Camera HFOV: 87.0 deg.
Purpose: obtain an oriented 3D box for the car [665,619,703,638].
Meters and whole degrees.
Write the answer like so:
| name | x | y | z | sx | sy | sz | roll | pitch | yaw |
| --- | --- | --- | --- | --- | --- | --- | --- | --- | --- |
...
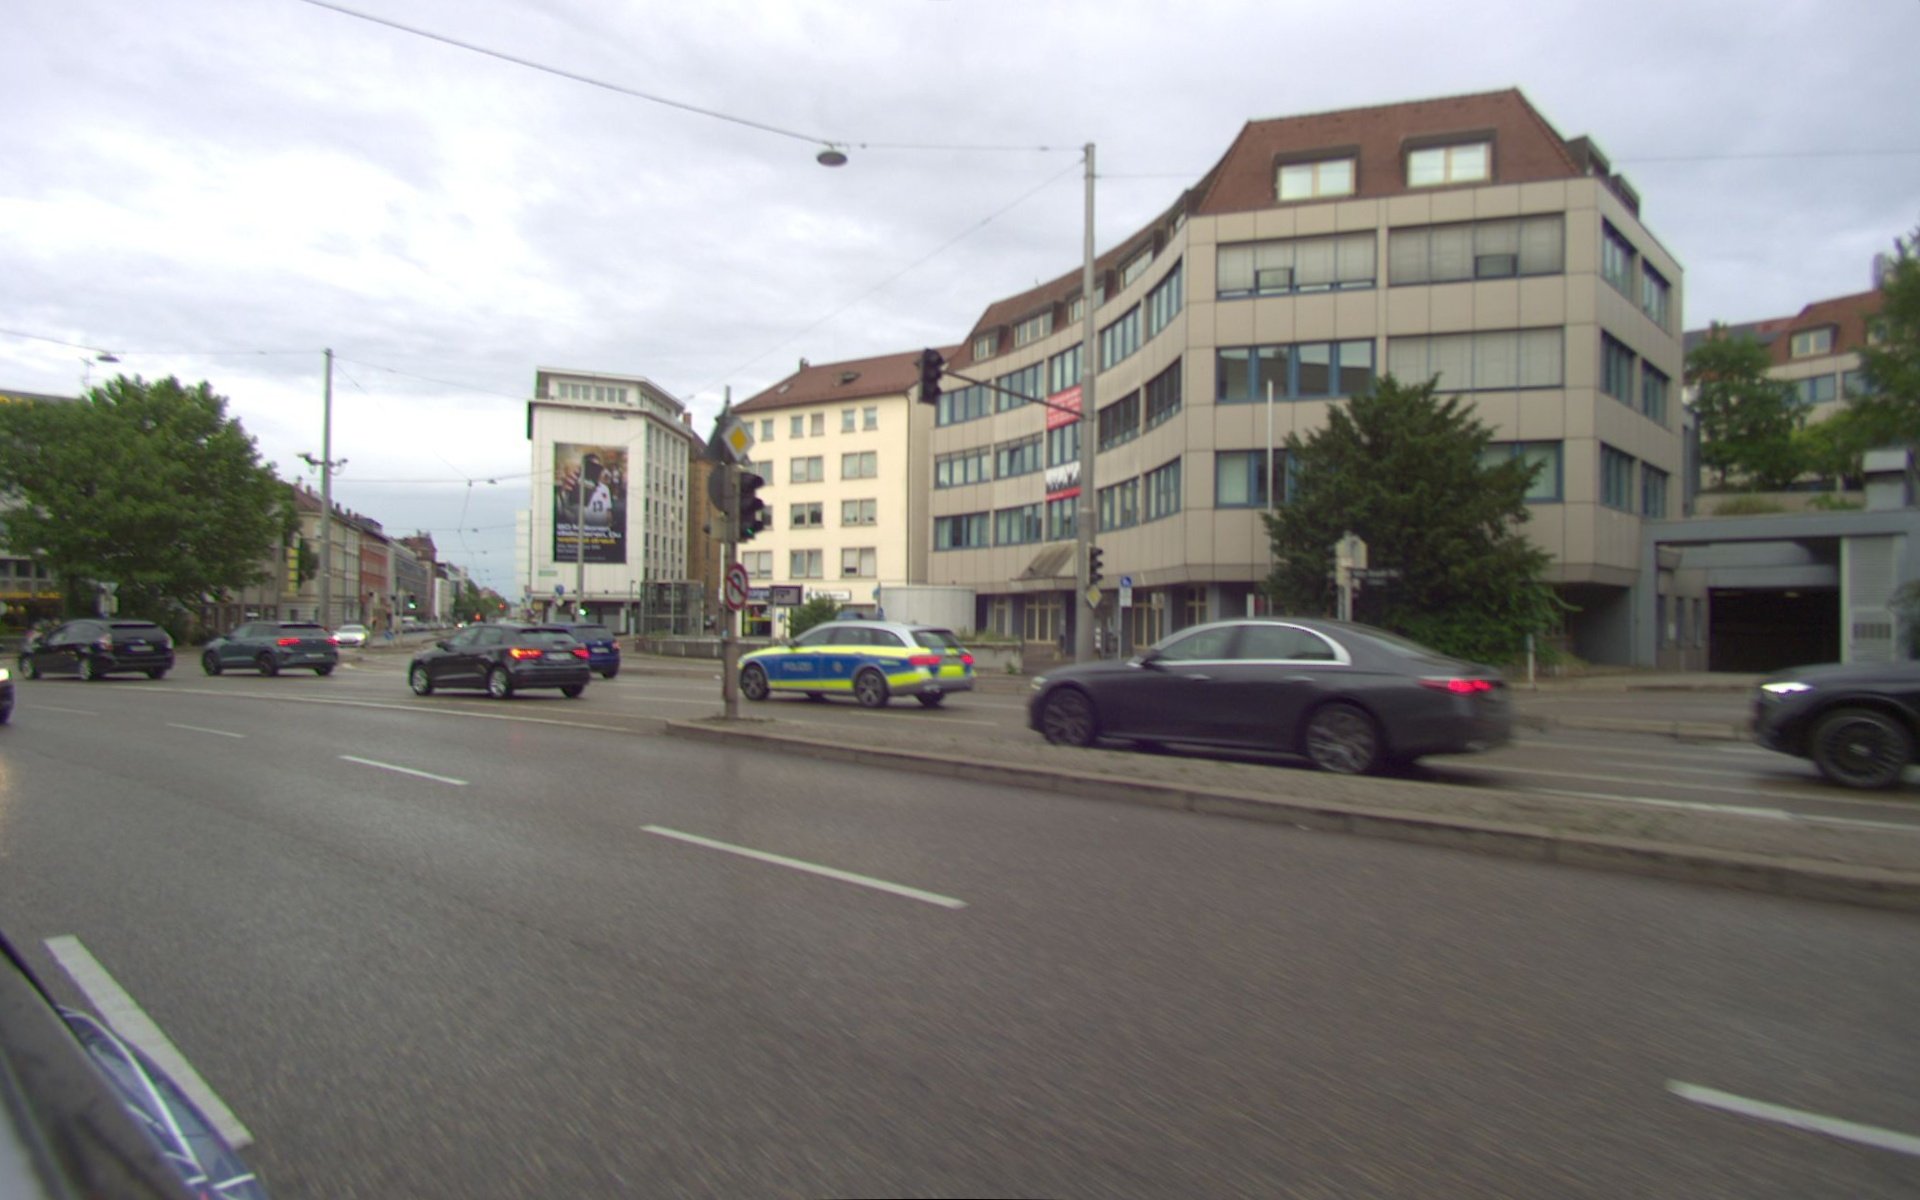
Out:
| name | x | y | z | sx | sy | sz | roll | pitch | yaw |
| --- | --- | --- | --- | --- | --- | --- | --- | --- | --- |
| car | -25.246 | 2.615 | 92.664 | 1.896 | 1.603 | 3.989 | 0 | -2 | 8 |

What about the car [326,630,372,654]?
| name | x | y | z | sx | sy | sz | roll | pitch | yaw |
| --- | --- | --- | --- | --- | --- | --- | --- | --- | --- |
| car | -39.288 | 2.693 | 65.183 | 1.966 | 1.462 | 4.242 | 1 | -2 | -24 |

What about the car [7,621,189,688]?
| name | x | y | z | sx | sy | sz | roll | pitch | yaw |
| --- | --- | --- | --- | --- | --- | --- | --- | --- | --- |
| car | -22.824 | 1.374 | 26.782 | 4.563 | 1.635 | 1.845 | 0 | -1 | 23 |

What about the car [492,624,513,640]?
| name | x | y | z | sx | sy | sz | roll | pitch | yaw |
| --- | --- | --- | --- | --- | --- | --- | --- | --- | --- |
| car | -49.652 | 3.463 | 109.955 | 1.844 | 1.590 | 4.013 | 1 | -2 | -21 |

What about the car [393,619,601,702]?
| name | x | y | z | sx | sy | sz | roll | pitch | yaw |
| --- | --- | --- | --- | --- | --- | --- | --- | --- | --- |
| car | -8.933 | 1.101 | 19.442 | 4.072 | 1.427 | 1.752 | 0 | -2 | 34 |

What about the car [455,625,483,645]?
| name | x | y | z | sx | sy | sz | roll | pitch | yaw |
| --- | --- | --- | --- | --- | --- | --- | --- | --- | --- |
| car | -45.911 | 3.233 | 94.515 | 1.966 | 1.857 | 4.453 | 2 | -2 | -30 |

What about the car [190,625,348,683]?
| name | x | y | z | sx | sy | sz | roll | pitch | yaw |
| --- | --- | --- | --- | --- | --- | --- | --- | --- | --- |
| car | -19.718 | 1.500 | 28.884 | 4.207 | 1.524 | 1.808 | 0 | -2 | 25 |

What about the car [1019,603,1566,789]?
| name | x | y | z | sx | sy | sz | roll | pitch | yaw |
| --- | --- | --- | --- | --- | --- | --- | --- | --- | --- |
| car | 3.137 | 0.830 | 10.306 | 4.936 | 1.449 | 1.972 | -1 | -3 | 42 |

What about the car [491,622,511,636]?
| name | x | y | z | sx | sy | sz | roll | pitch | yaw |
| --- | --- | --- | --- | --- | --- | --- | --- | --- | --- |
| car | -54.062 | 3.396 | 119.250 | 1.844 | 1.590 | 4.013 | 1 | -2 | -21 |

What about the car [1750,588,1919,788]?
| name | x | y | z | sx | sy | sz | roll | pitch | yaw |
| --- | --- | --- | --- | --- | --- | --- | --- | --- | --- |
| car | 9.788 | 0.758 | 8.427 | 4.936 | 1.690 | 1.972 | -1 | -3 | 42 |

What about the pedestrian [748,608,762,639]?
| name | x | y | z | sx | sy | sz | roll | pitch | yaw |
| --- | --- | --- | --- | --- | --- | --- | --- | --- | --- |
| pedestrian | -13.548 | 1.524 | 66.808 | 0.674 | 2.029 | 0.562 | 0 | -2 | 27 |

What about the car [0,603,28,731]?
| name | x | y | z | sx | sy | sz | roll | pitch | yaw |
| --- | --- | --- | --- | --- | --- | --- | --- | --- | --- |
| car | -15.642 | 0.989 | 14.833 | 4.108 | 1.813 | 1.778 | -1 | -1 | 30 |

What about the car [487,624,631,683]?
| name | x | y | z | sx | sy | sz | roll | pitch | yaw |
| --- | --- | --- | --- | --- | --- | --- | --- | --- | --- |
| car | -11.381 | 1.473 | 28.645 | 4.109 | 1.524 | 1.748 | 0 | -2 | 33 |

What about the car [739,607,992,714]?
| name | x | y | z | sx | sy | sz | roll | pitch | yaw |
| --- | --- | --- | --- | --- | --- | --- | --- | --- | --- |
| car | -1.791 | 1.012 | 18.263 | 4.583 | 1.695 | 1.750 | -1 | -2 | 37 |
